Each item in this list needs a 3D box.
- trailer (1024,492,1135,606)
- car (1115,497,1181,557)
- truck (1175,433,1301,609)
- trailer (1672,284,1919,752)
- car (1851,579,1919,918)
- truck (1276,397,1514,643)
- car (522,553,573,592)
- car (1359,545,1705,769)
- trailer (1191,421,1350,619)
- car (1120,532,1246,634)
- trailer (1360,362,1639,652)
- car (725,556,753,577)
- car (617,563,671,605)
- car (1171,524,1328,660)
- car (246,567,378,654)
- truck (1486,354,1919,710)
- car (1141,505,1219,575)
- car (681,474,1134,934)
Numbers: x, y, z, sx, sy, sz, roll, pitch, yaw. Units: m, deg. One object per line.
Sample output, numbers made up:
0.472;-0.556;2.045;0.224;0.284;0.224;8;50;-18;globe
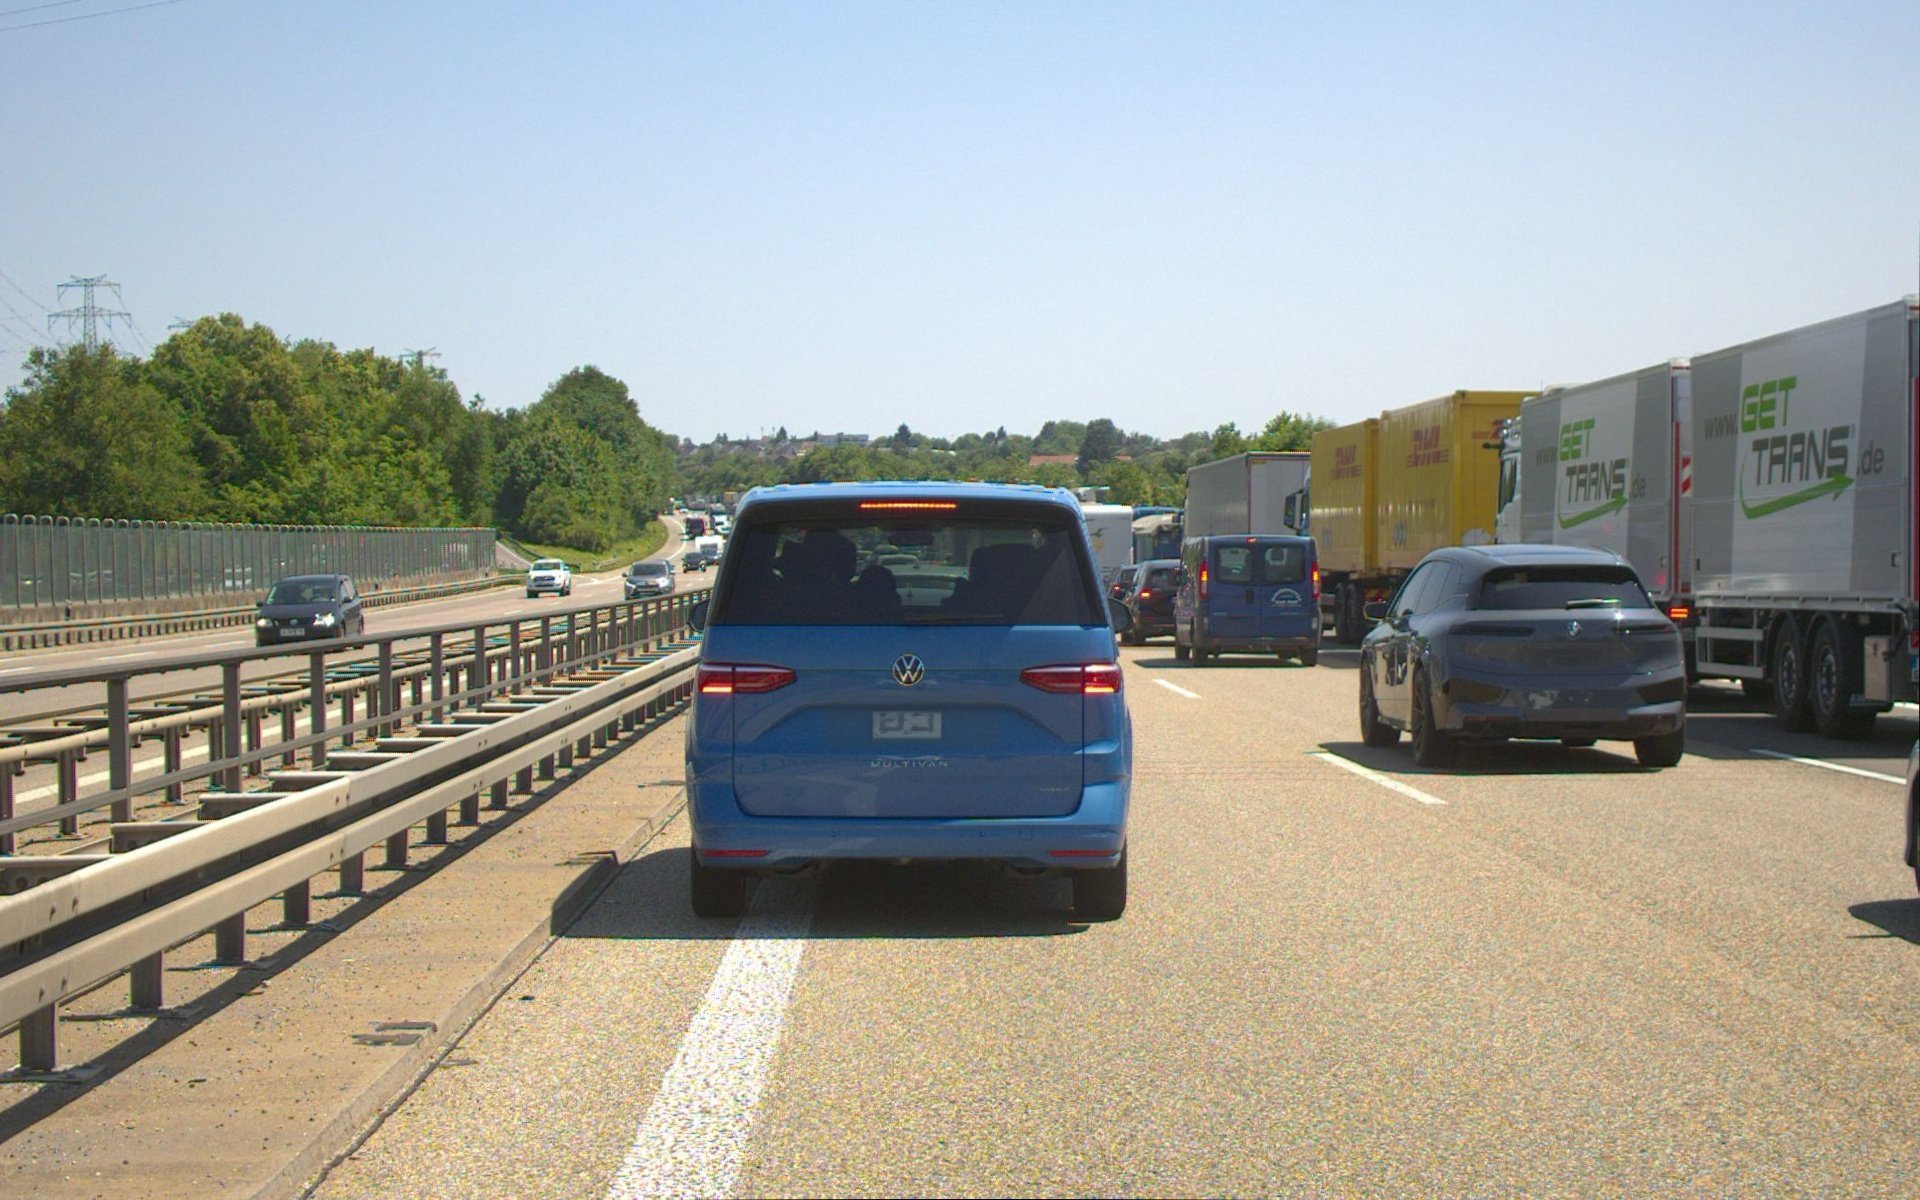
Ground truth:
3.253;-1.378;95.979;2.569;2.980;10.663;1;0;-1;trailer
6.564;-2.532;120.304;1.993;2.007;4.461;-1;1;-1;car
7.335;-2.041;91.377;2.667;4.469;6.850;1;0;-1;truck
8.717;-0.706;31.120;2.698;3.687;8.015;0;1;-1;trailer
5.044;0.654;13.731;1.788;1.450;4.293;0;1;-1;car
8.043;-1.445;65.111;2.836;4.228;11.011;1;1;-1;truck
-20.167;-1.358;168.312;1.993;1.878;5.256;-1;1;-1;car
4.435;0.389;27.312;1.962;1.639;4.293;0;1;-1;car
7.475;-1.906;84.247;2.637;4.501;11.302;1;1;-1;trailer
4.055;-0.334;62.969;1.993;1.809;4.000;0;1;-1;car
8.457;-1.394;55.061;2.864;4.224;9.012;1;0;-1;trailer
-14.102;-2.148;219.736;1.597;1.313;4.342;-2;1;-1;car
-12.377;-0.645;134.896;1.805;1.622;4.478;1;1;-1;car
4.361;-0.150;52.355;1.962;1.986;4.293;0;1;-1;car
-13.468;0.199;71.685;1.993;1.666;4.187;-3;1;-2;car
8.513;-0.774;40.644;2.656;3.635;11.011;0;1;-1;truck
6.530;-1.768;102.473;1.993;2.007;4.000;1;0;-1;car
-0.241;0.405;16.011;1.820;1.851;4.075;1;0;-1;car
